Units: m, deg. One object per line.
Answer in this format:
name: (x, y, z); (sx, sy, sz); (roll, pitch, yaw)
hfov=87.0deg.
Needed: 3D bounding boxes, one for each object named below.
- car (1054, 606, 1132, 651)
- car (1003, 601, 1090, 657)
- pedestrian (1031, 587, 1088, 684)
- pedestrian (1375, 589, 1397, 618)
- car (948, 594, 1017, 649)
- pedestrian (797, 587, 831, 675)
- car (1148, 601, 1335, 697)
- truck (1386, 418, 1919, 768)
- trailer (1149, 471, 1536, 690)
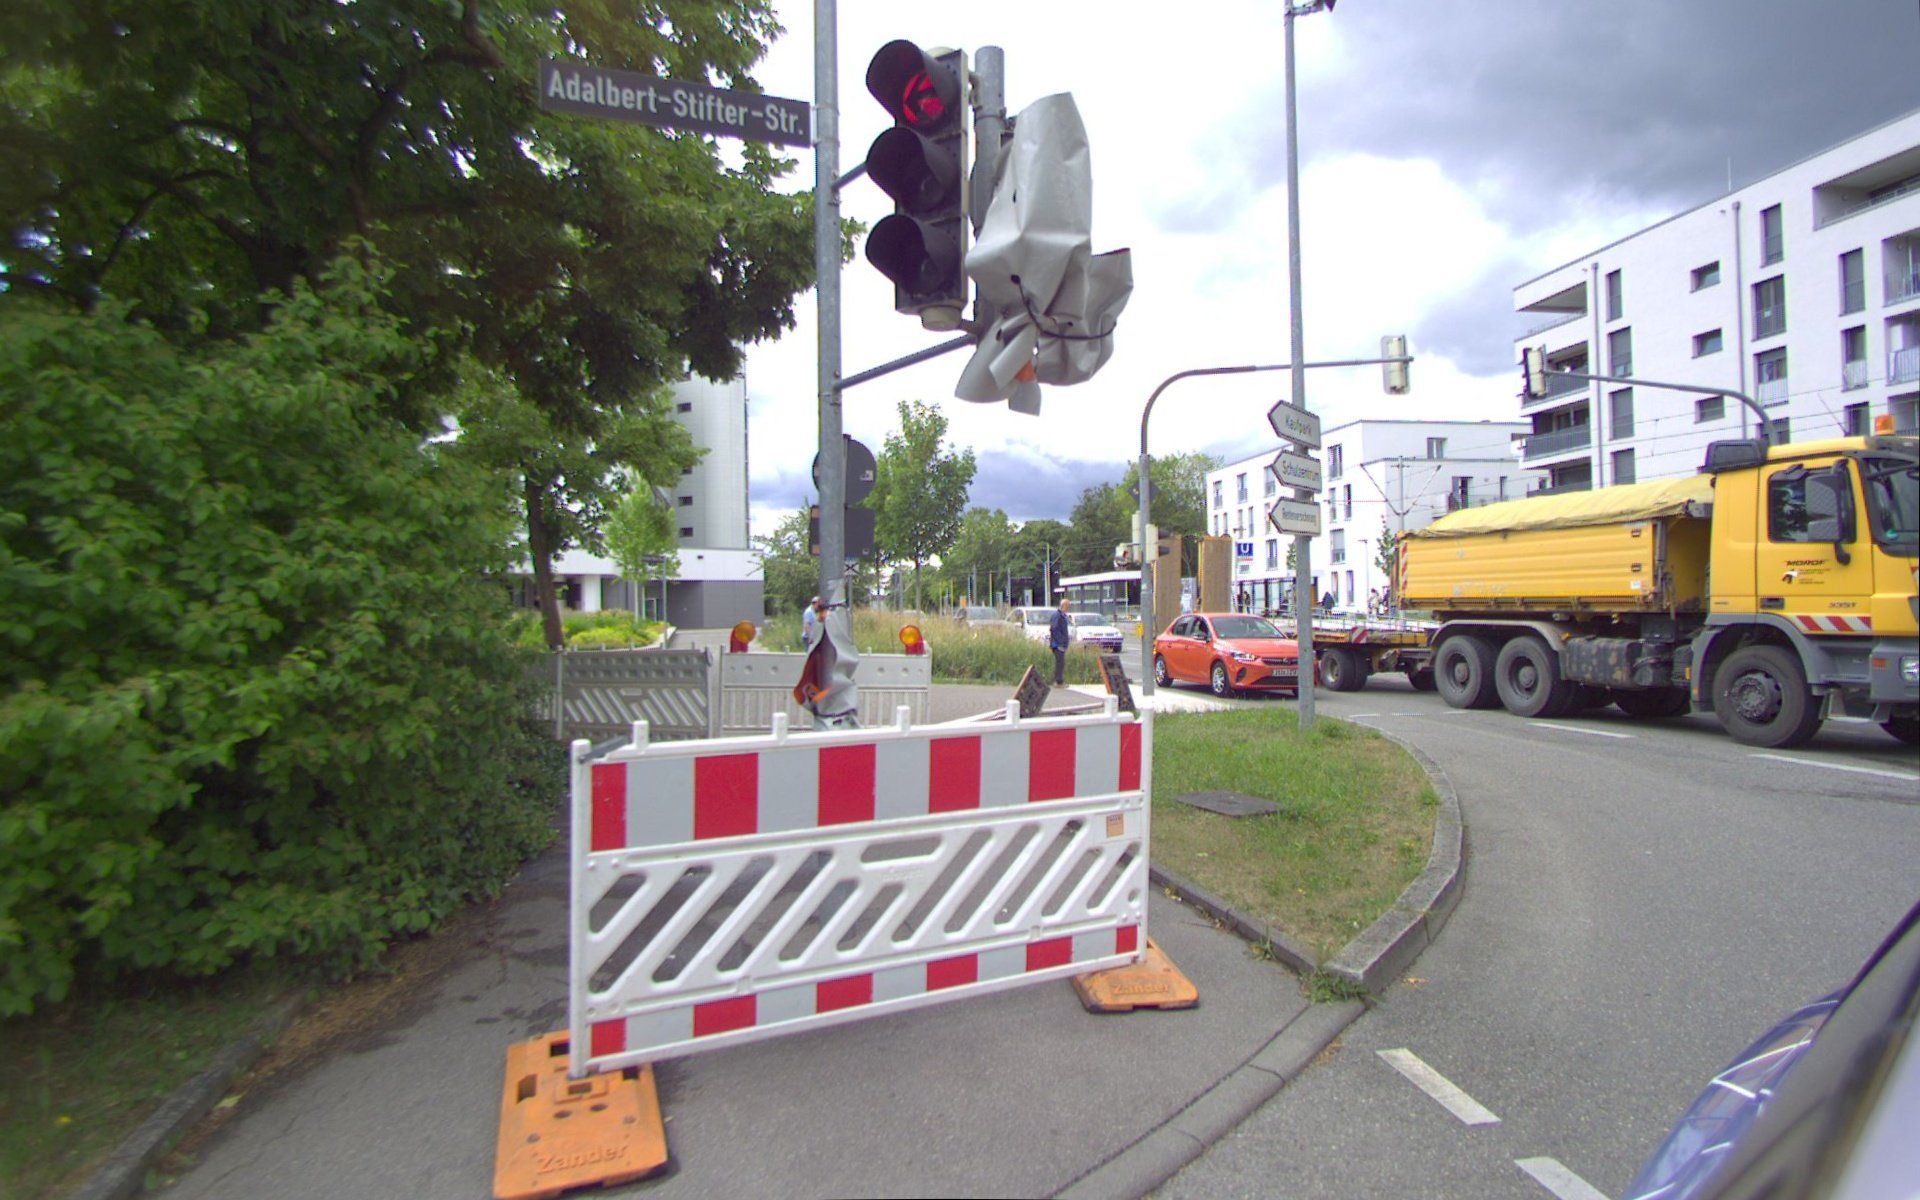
car: (4.768, 0.998, 36.917); (1.659, 1.498, 4.007); (-1, 0, -10)
car: (2.540, 0.835, 30.405); (1.703, 1.594, 3.451); (0, -1, -11)
pedestrian: (1.853, 0.649, 18.839); (0.942, 1.762, 0.725); (-1, -1, 15)
pedestrian: (20.856, 0.168, 49.532); (0.701, 1.427, 0.672); (0, -1, -11)
car: (0.829, 0.806, 39.977); (1.959, 2.039, 4.006); (-1, -1, -10)
pedestrian: (-3.063, 0.650, 21.292); (0.680, 1.814, 0.729); (0, -1, -5)
car: (4.914, 0.785, 18.286); (1.659, 1.498, 4.007); (-1, 0, -10)
truck: (8.943, -0.095, 12.856); (2.673, 3.041, 7.791); (-1, 0, -10)
trailer: (7.352, -0.299, 22.057); (2.659, 3.566, 10.930); (-1, 0, -10)
